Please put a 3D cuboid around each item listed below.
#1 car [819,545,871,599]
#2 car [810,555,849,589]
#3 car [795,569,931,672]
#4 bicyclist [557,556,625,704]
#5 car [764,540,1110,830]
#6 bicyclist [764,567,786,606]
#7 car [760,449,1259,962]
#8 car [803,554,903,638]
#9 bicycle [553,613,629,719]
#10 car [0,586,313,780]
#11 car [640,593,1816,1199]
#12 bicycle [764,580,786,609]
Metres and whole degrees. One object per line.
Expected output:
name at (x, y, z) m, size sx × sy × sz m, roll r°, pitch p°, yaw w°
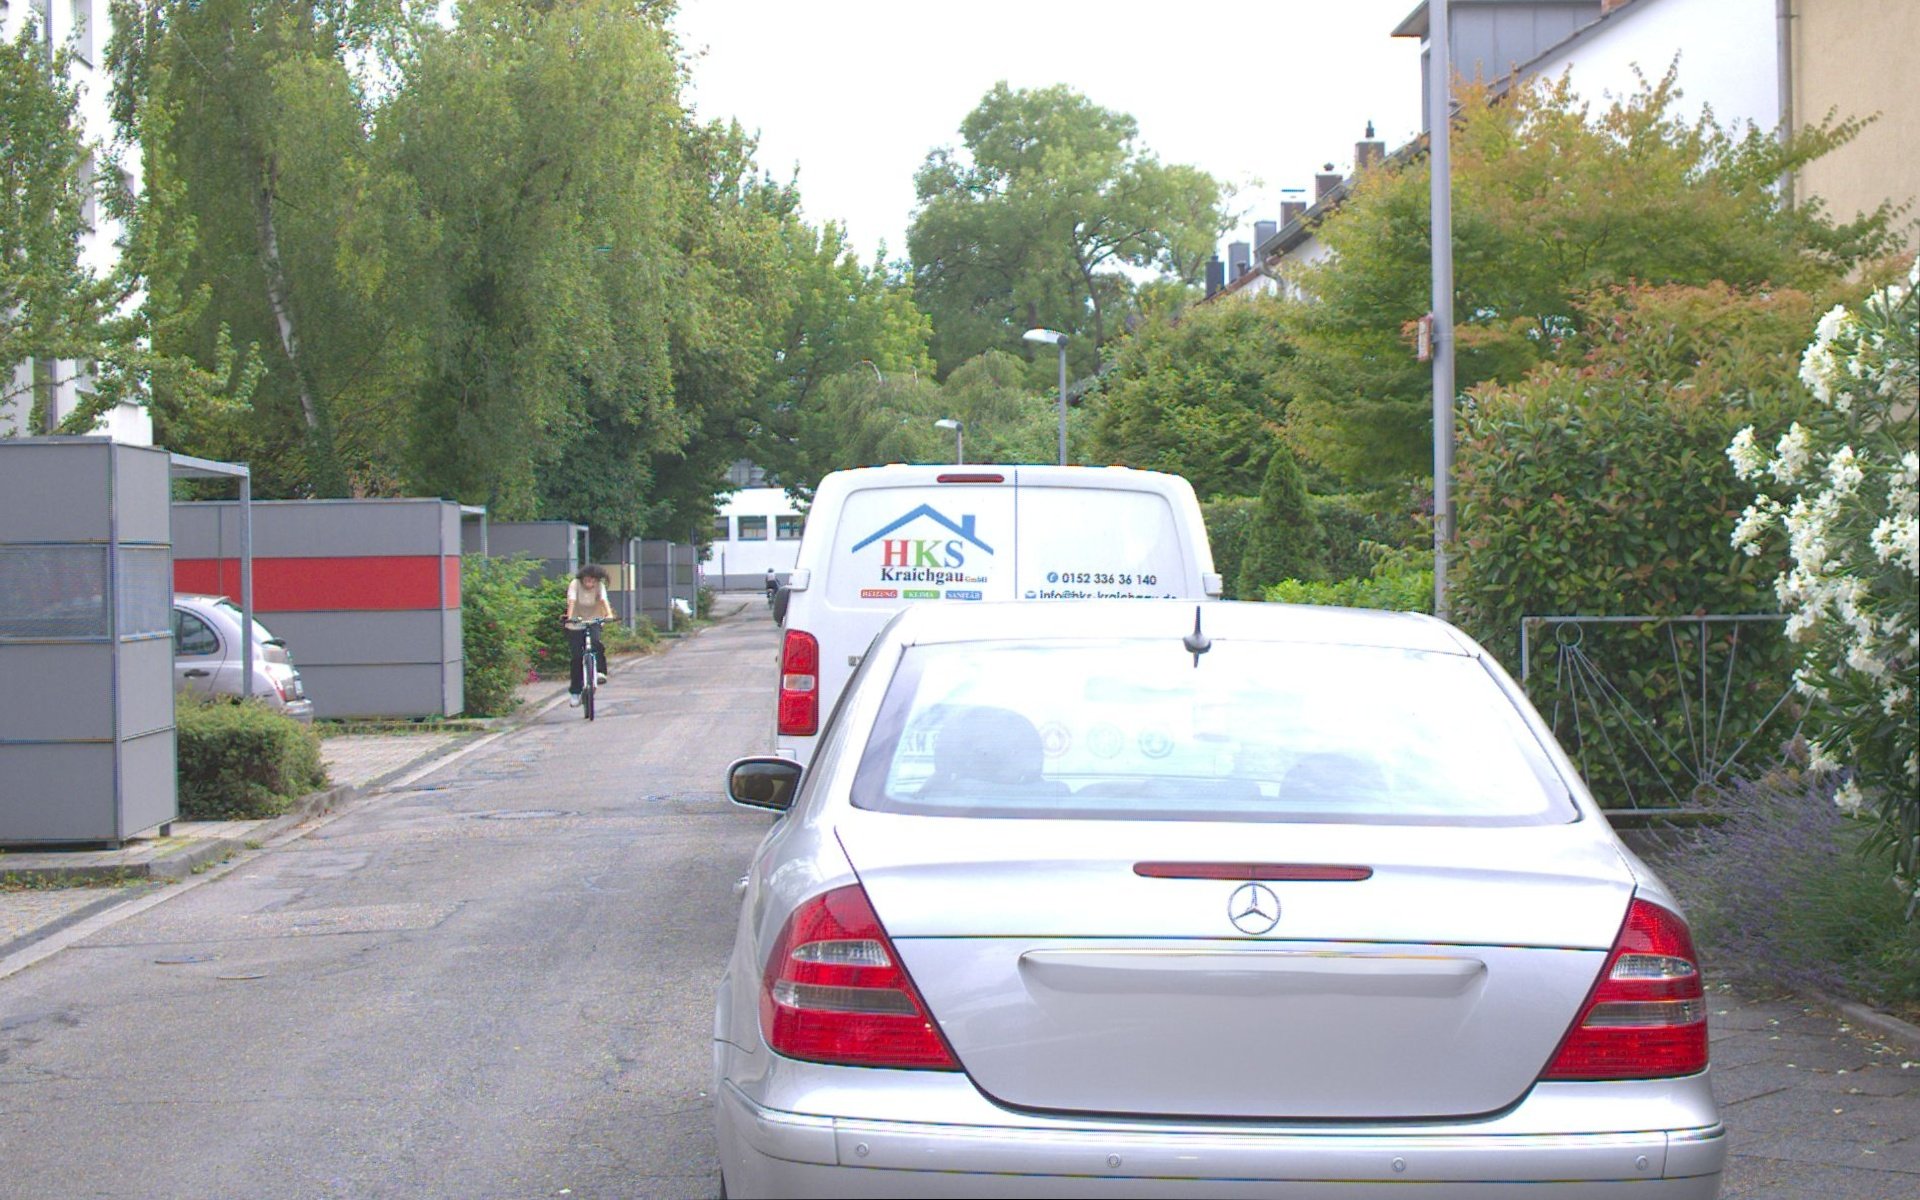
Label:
car at (-4.142, -1.029, 124.416) m, size 1.825 × 1.877 × 4.000 m, roll 1°, pitch 1°, yaw -2°
car at (-6.274, -1.362, 165.309) m, size 1.825 × 1.576 × 4.000 m, roll 1°, pitch 1°, yaw -2°
car at (-1.385, 0.261, 49.047) m, size 1.825 × 1.365 × 4.331 m, roll 1°, pitch 1°, yaw -2°
bicyclist at (-4.018, 0.317, 37.471) m, size 0.597 × 1.575 × 0.767 m, roll -2°, pitch 0°, yaw -1°
car at (-0.246, 0.462, 21.485) m, size 1.824 × 1.630 × 4.163 m, roll 0°, pitch 1°, yaw -5°
bicyclist at (-7.183, -0.516, 133.627) m, size 0.798 × 1.506 × 0.934 m, roll 1°, pitch 0°, yaw 0°
car at (0.066, 0.381, 15.802) m, size 1.903 × 1.958 × 5.254 m, roll 0°, pitch 1°, yaw -3°
car at (-2.143, -0.109, 67.906) m, size 1.825 × 1.576 × 4.001 m, roll 1°, pitch 1°, yaw -4°
bicycle at (-4.005, 0.701, 37.444) m, size 0.597 × 1.072 × 2.042 m, roll -2°, pitch 1°, yaw -1°
car at (-7.326, 0.692, 28.851) m, size 3.561 × 1.475 × 1.711 m, roll -2°, pitch 1°, yaw -6°
car at (0.384, 0.719, 7.458) m, size 1.783 × 1.416 × 4.455 m, roll 0°, pitch 1°, yaw -1°
bicycle at (-7.180, -0.218, 133.654) m, size 0.689 × 1.127 × 2.579 m, roll 1°, pitch 0°, yaw 0°
